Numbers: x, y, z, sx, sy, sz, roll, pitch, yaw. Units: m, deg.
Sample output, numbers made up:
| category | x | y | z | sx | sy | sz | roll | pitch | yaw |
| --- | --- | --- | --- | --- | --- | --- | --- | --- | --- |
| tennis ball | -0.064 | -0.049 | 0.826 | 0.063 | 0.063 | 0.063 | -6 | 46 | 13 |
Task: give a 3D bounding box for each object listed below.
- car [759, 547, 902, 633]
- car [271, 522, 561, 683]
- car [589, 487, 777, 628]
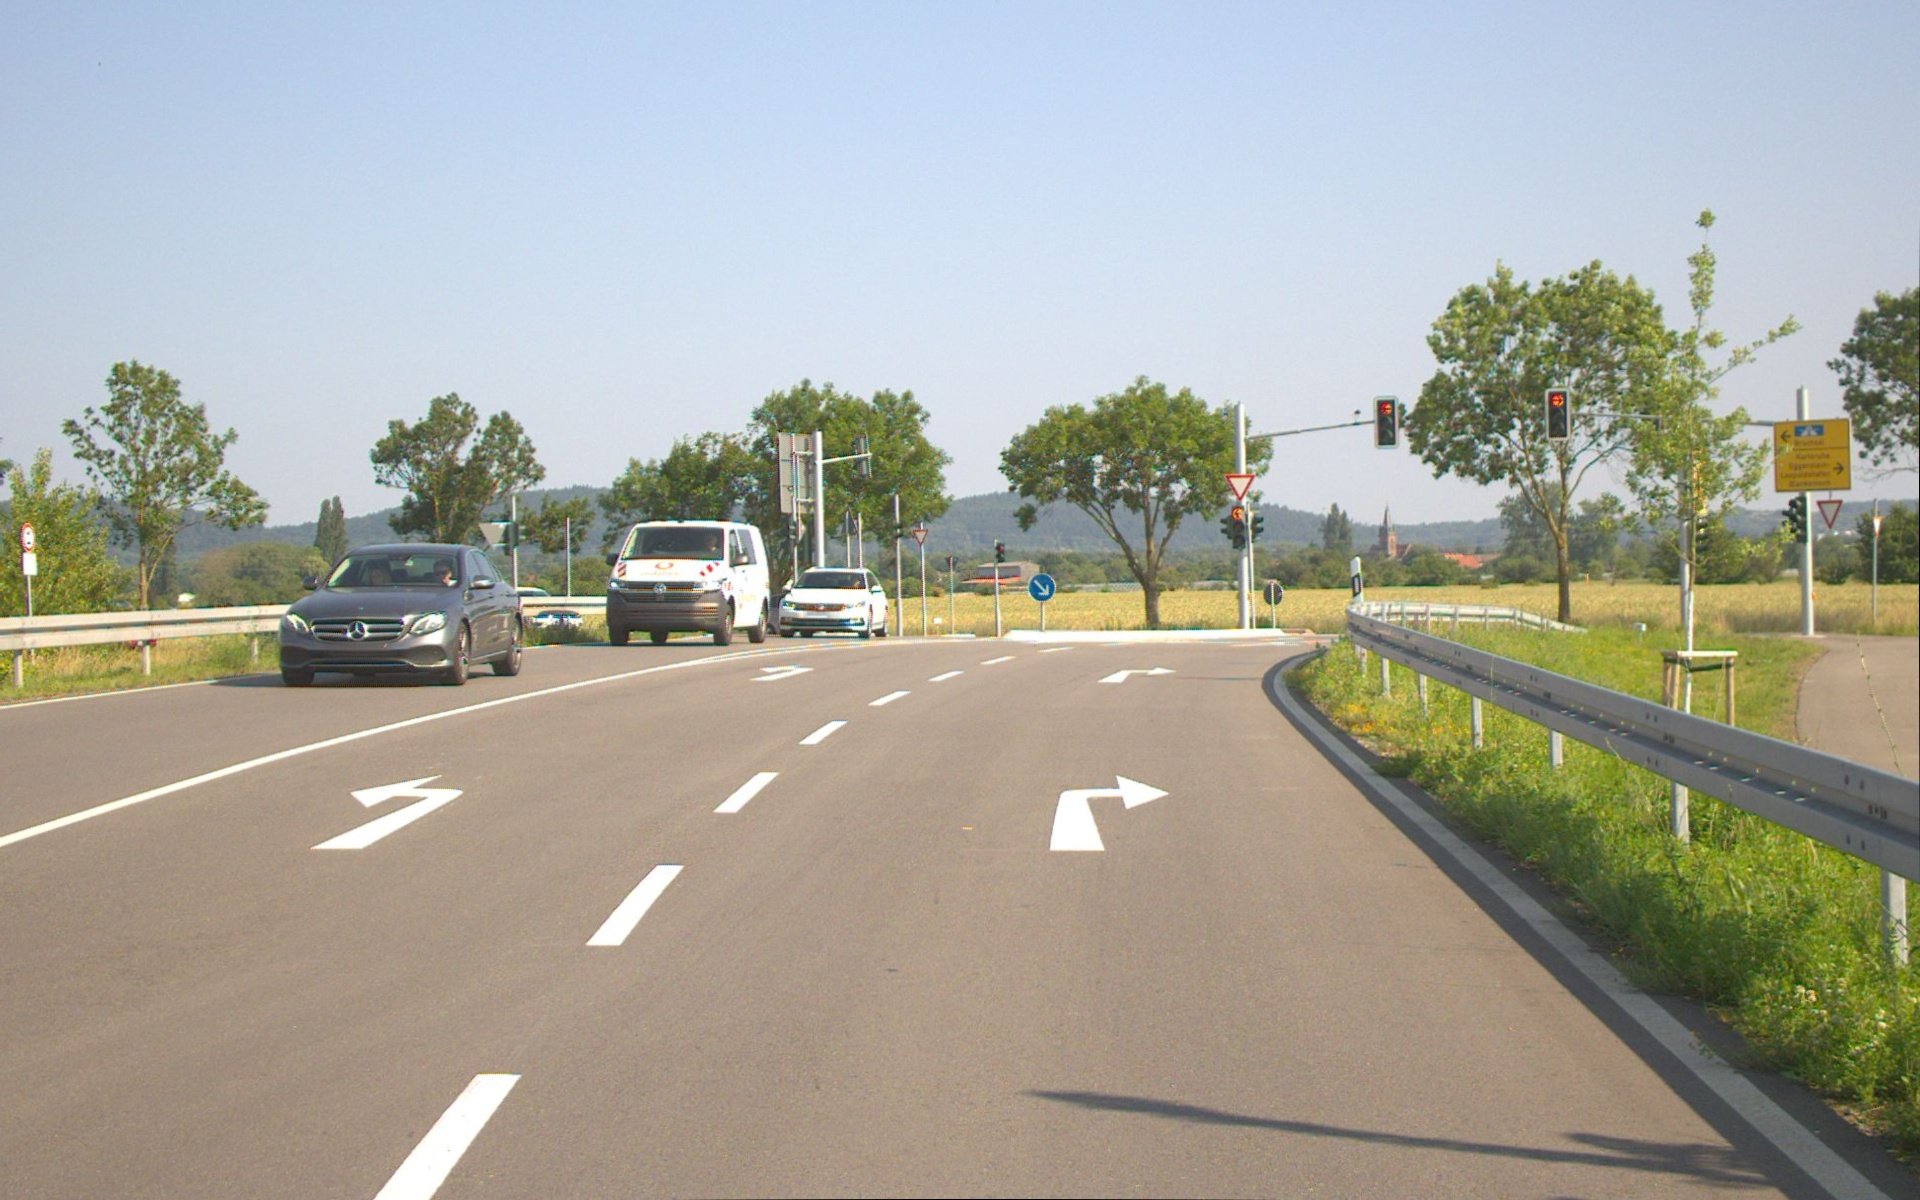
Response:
| category | x | y | z | sx | sy | sz | roll | pitch | yaw |
| --- | --- | --- | --- | --- | --- | --- | --- | --- | --- |
| car | -2.622 | -0.237 | 71.050 | 2.115 | 1.488 | 5.152 | 1 | 3 | 7 |
| car | -5.706 | -0.027 | 36.632 | 1.795 | 1.443 | 4.705 | 1 | 3 | 7 |
| car | -4.308 | -0.724 | 54.332 | 2.115 | 2.006 | 5.153 | 1 | 3 | 5 |
